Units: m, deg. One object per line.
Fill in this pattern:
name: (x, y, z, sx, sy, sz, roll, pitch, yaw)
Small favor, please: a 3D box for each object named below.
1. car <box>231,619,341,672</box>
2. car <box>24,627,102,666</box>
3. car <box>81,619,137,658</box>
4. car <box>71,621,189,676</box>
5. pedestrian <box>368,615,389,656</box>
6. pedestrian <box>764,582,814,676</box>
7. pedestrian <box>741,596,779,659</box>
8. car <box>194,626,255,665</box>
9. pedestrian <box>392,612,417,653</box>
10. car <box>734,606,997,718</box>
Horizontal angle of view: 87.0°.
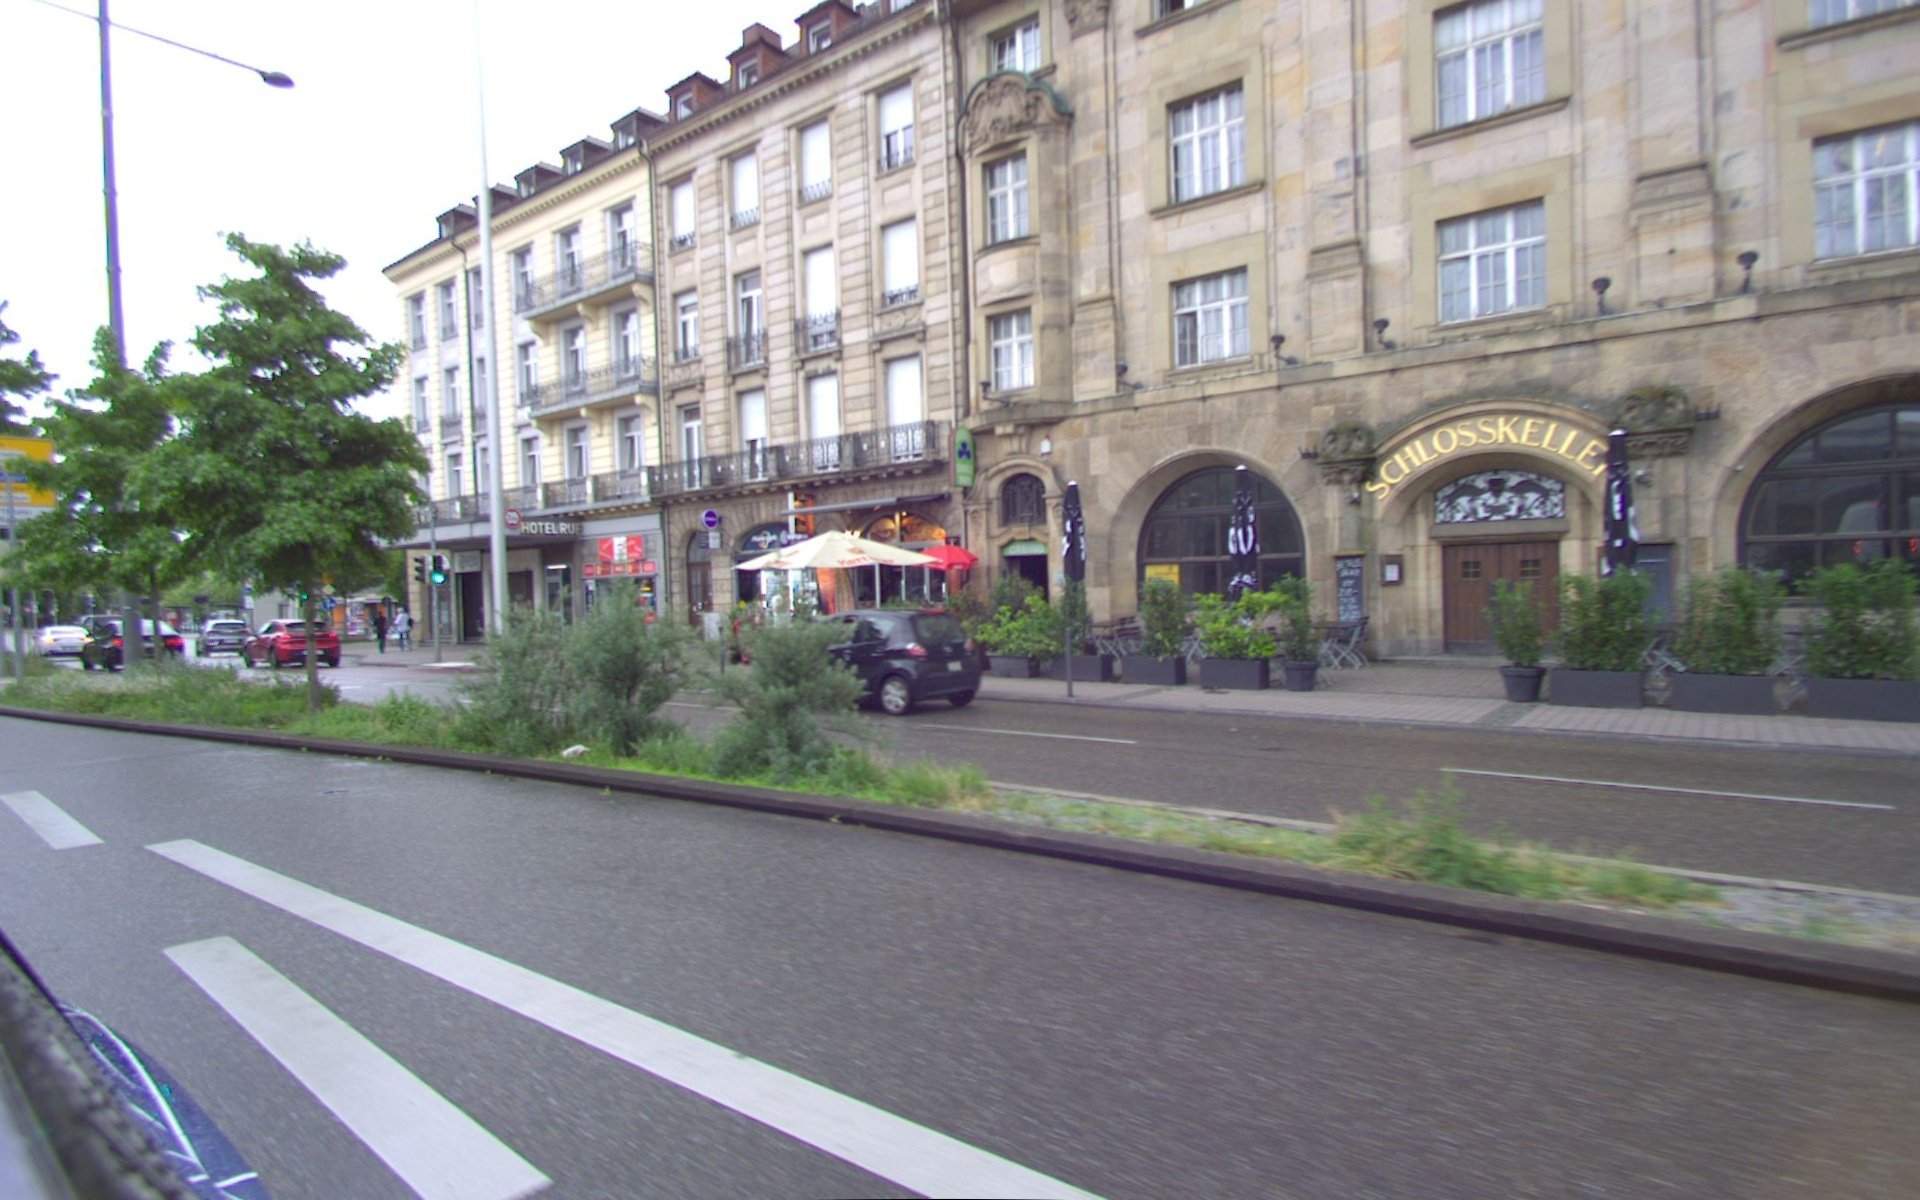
car: (-20.324, 1.324, 30.483, 3.911, 1.456, 1.661, -1, 0, 39)
car: (-37.467, 1.910, 42.249, 4.369, 1.475, 1.823, -1, -1, 40)
car: (-41.325, 1.820, 49.094, 1.791, 1.763, 3.813, 0, -1, -45)
car: (-24.683, 1.373, 30.015, 5.026, 1.475, 1.823, -1, -1, 40)
pedestrian: (-22.361, 1.353, 38.892, 0.633, 1.499, 0.748, -2, 0, -32)
pedestrian: (-3.578, 0.603, 21.173, 0.765, 1.924, 0.670, -1, -1, 40)
pedestrian: (-5.445, 0.730, 27.596, 0.677, 1.683, 0.757, 0, 0, 34)
car: (-31.820, 1.933, 43.729, 1.741, 1.519, 3.847, 0, -1, -42)
pedestrian: (-21.640, 1.258, 39.406, 0.777, 1.550, 0.748, -2, 0, -32)
car: (-1.450, 0.833, 14.868, 3.754, 1.443, 1.613, -1, -1, 37)
